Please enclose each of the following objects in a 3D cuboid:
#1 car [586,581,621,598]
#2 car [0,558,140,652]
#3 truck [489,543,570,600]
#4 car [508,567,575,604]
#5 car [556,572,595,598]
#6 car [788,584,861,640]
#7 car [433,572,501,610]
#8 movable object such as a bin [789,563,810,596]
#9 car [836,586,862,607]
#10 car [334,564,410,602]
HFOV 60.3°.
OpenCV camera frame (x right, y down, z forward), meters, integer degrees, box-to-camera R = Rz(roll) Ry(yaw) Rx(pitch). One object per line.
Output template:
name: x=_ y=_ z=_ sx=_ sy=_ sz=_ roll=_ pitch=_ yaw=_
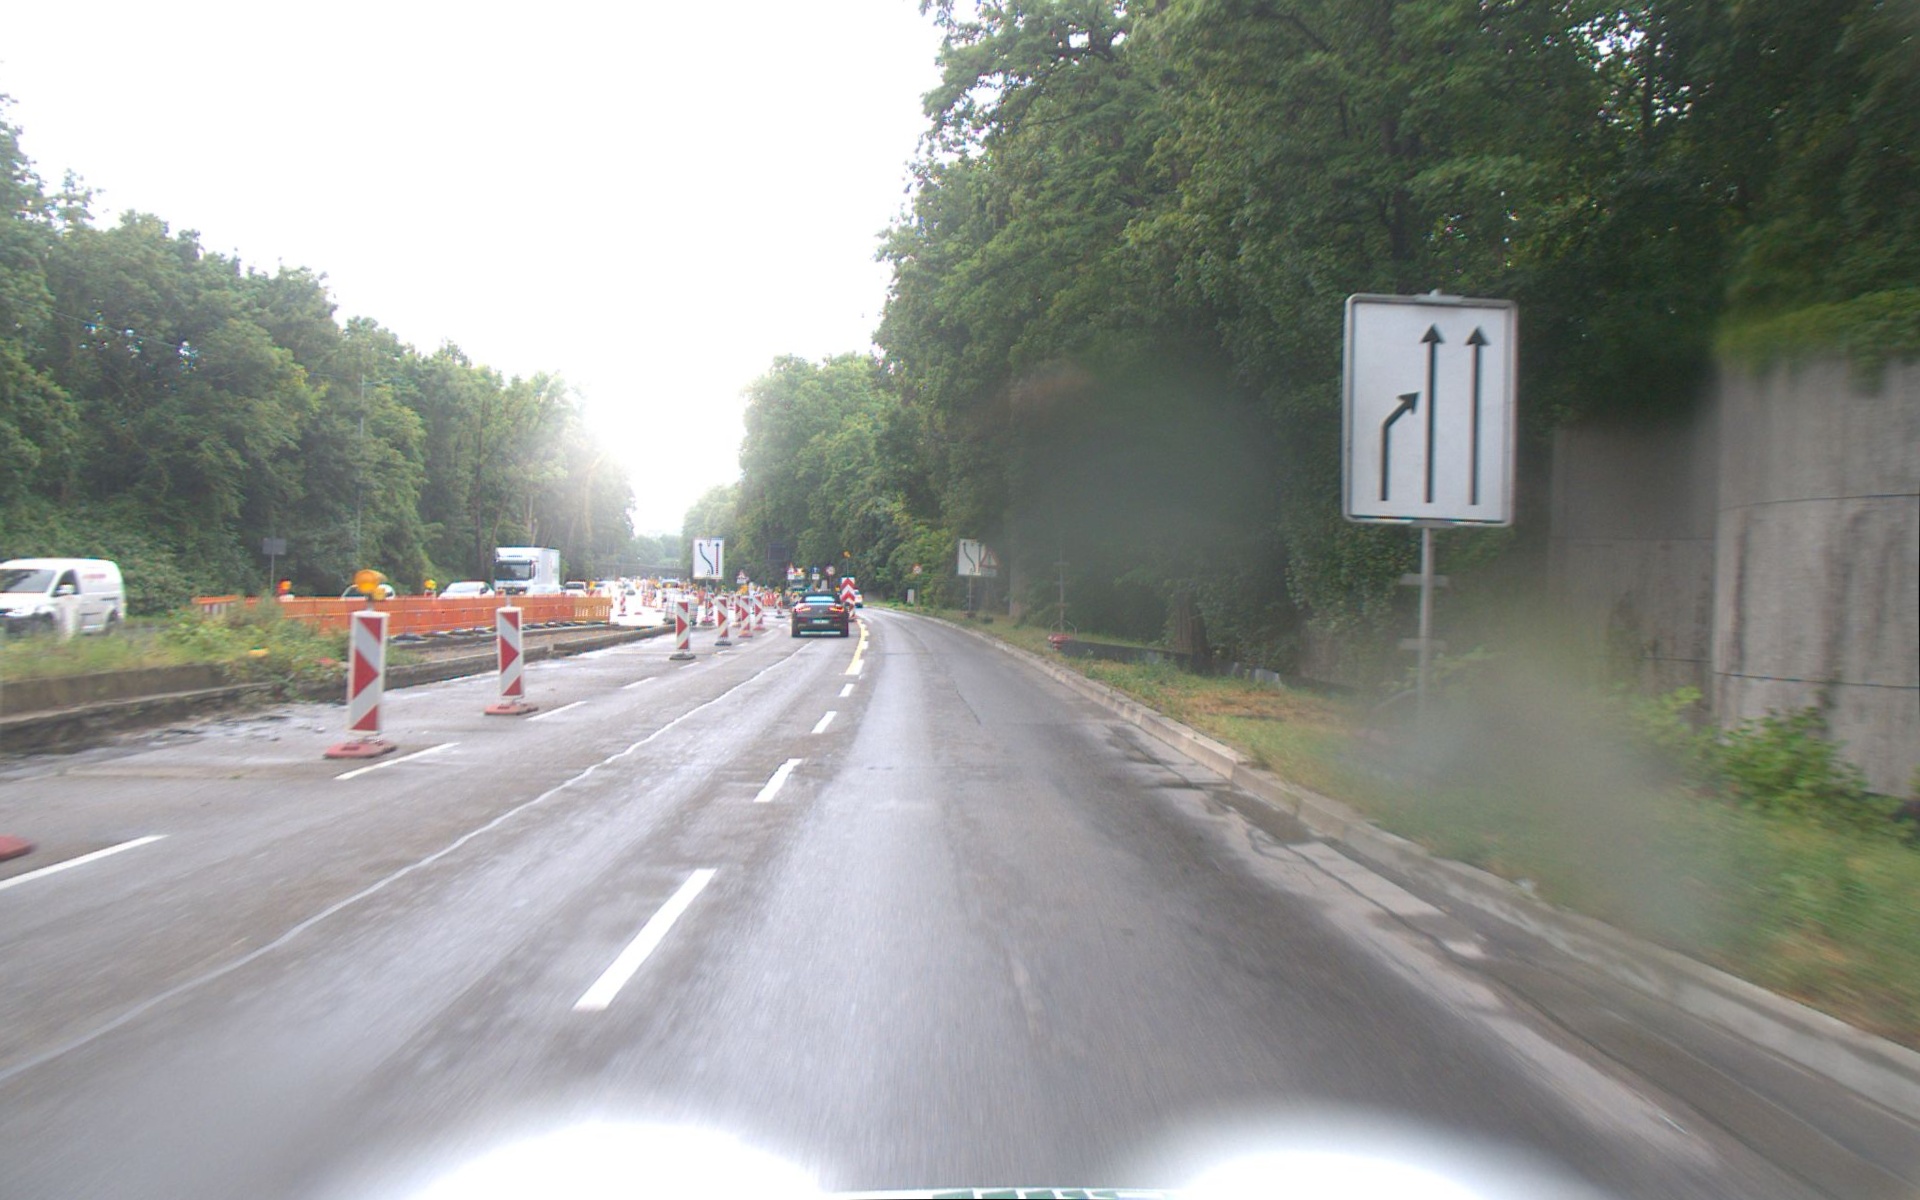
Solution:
car: x=-24.324 y=-0.721 z=112.954 sx=1.573 sy=1.172 sz=4.281 roll=1 pitch=1 yaw=-2
car: x=-19.376 y=0.036 z=34.913 sx=1.876 sy=1.812 sz=4.832 roll=1 pitch=1 yaw=-3
truck: x=-25.437 y=-1.652 z=98.129 sx=2.740 sy=3.203 sz=10.140 roll=1 pitch=1 yaw=-4
car: x=-18.177 y=-0.654 z=71.965 sx=1.818 sy=1.512 sz=4.677 roll=1 pitch=1 yaw=-2
car: x=-28.133 y=-1.118 z=121.068 sx=1.807 sy=1.753 sz=4.718 roll=-3 pitch=1 yaw=-2
car: x=-4.355 y=0.348 z=53.668 sx=1.823 sy=1.517 sz=4.002 roll=2 pitch=3 yaw=2
car: x=-20.931 y=-0.406 z=70.383 sx=1.798 sy=1.577 sz=4.038 roll=0 pitch=1 yaw=-2
movable object such as a bin: x=-14.391 y=-1.834 z=148.373 sx=1.714 sy=2.917 sz=3.528 roll=0 pitch=1 yaw=-8
car: x=-9.017 y=-0.301 z=134.470 sx=1.877 sy=1.625 sz=4.827 roll=1 pitch=1 yaw=-6
car: x=-23.360 y=-0.664 z=65.827 sx=1.755 sy=1.450 sz=3.895 roll=0 pitch=1 yaw=-2
